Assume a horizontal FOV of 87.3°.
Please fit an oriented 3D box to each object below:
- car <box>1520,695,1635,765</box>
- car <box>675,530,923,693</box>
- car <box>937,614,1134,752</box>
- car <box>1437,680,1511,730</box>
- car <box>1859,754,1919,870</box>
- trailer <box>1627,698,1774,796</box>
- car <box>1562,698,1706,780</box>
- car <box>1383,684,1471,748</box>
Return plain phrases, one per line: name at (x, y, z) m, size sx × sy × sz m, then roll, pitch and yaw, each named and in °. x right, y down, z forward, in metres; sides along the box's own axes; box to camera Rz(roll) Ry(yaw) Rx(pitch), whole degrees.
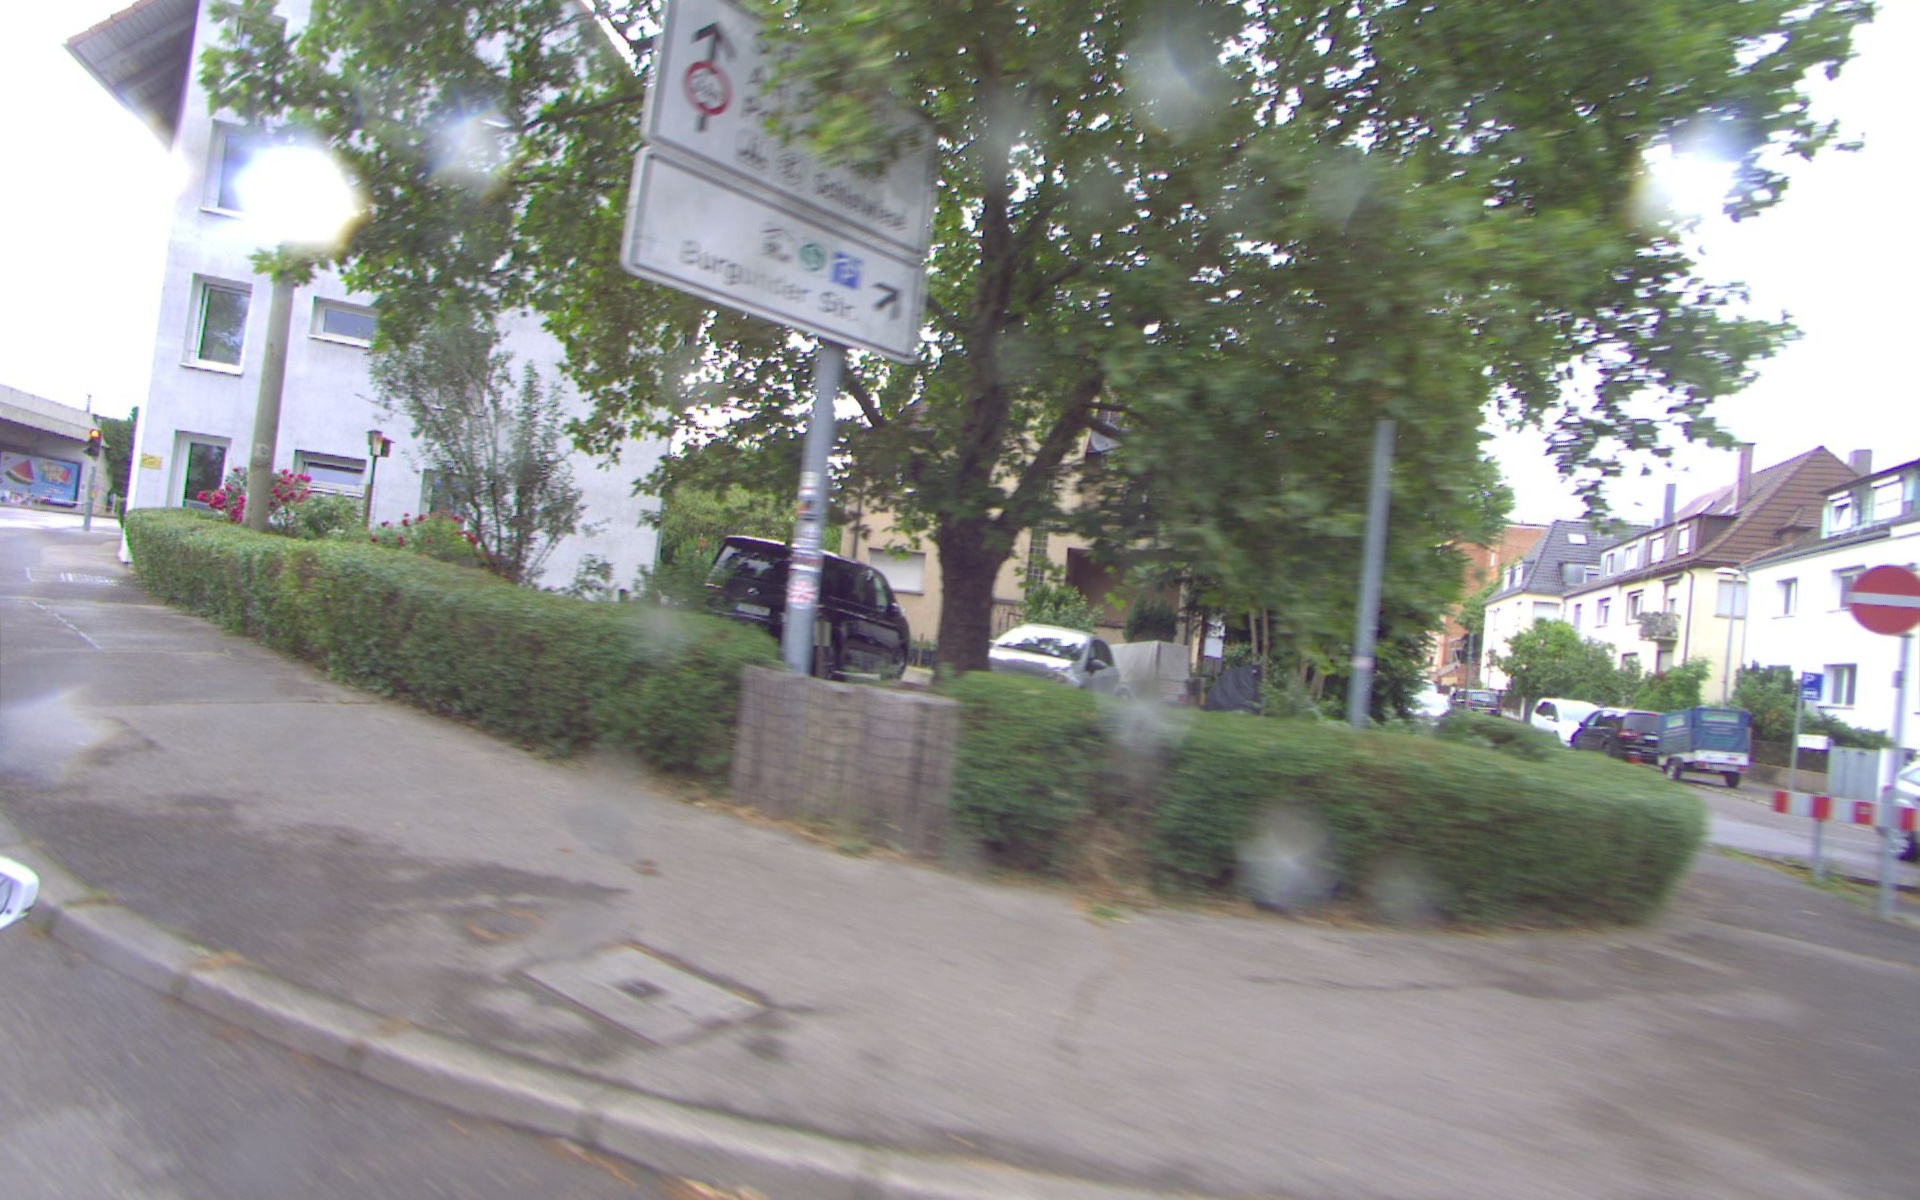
car at (21.813, 4.530, 35.766) m, size 1.962 × 1.860 × 4.584 m, roll 8°, pitch -1°, yaw 13°
car at (-2.283, 0.267, 15.693) m, size 1.962 × 1.954 × 4.419 m, roll 8°, pitch -1°, yaw 15°
car at (1.313, 1.246, 15.445) m, size 1.789 × 1.598 × 4.002 m, roll 7°, pitch -1°, yaw 21°
car at (25.275, 5.107, 49.608) m, size 1.962 × 2.036 × 4.005 m, roll 7°, pitch -2°, yaw 10°
car at (13.773, 3.008, 12.878) m, size 1.738 × 1.470 × 3.789 m, roll 8°, pitch -1°, yaw 16°
trailer at (19.498, 3.803, 26.662) m, size 1.640 × 2.037 × 3.494 m, roll 8°, pitch -1°, yaw 12°
car at (20.340, 4.129, 30.621) m, size 1.962 × 1.860 × 4.584 m, roll 8°, pitch -1°, yaw 13°
car at (14.818, 3.633, 32.104) m, size 1.963 × 1.575 × 4.002 m, roll 8°, pitch -1°, yaw 19°
